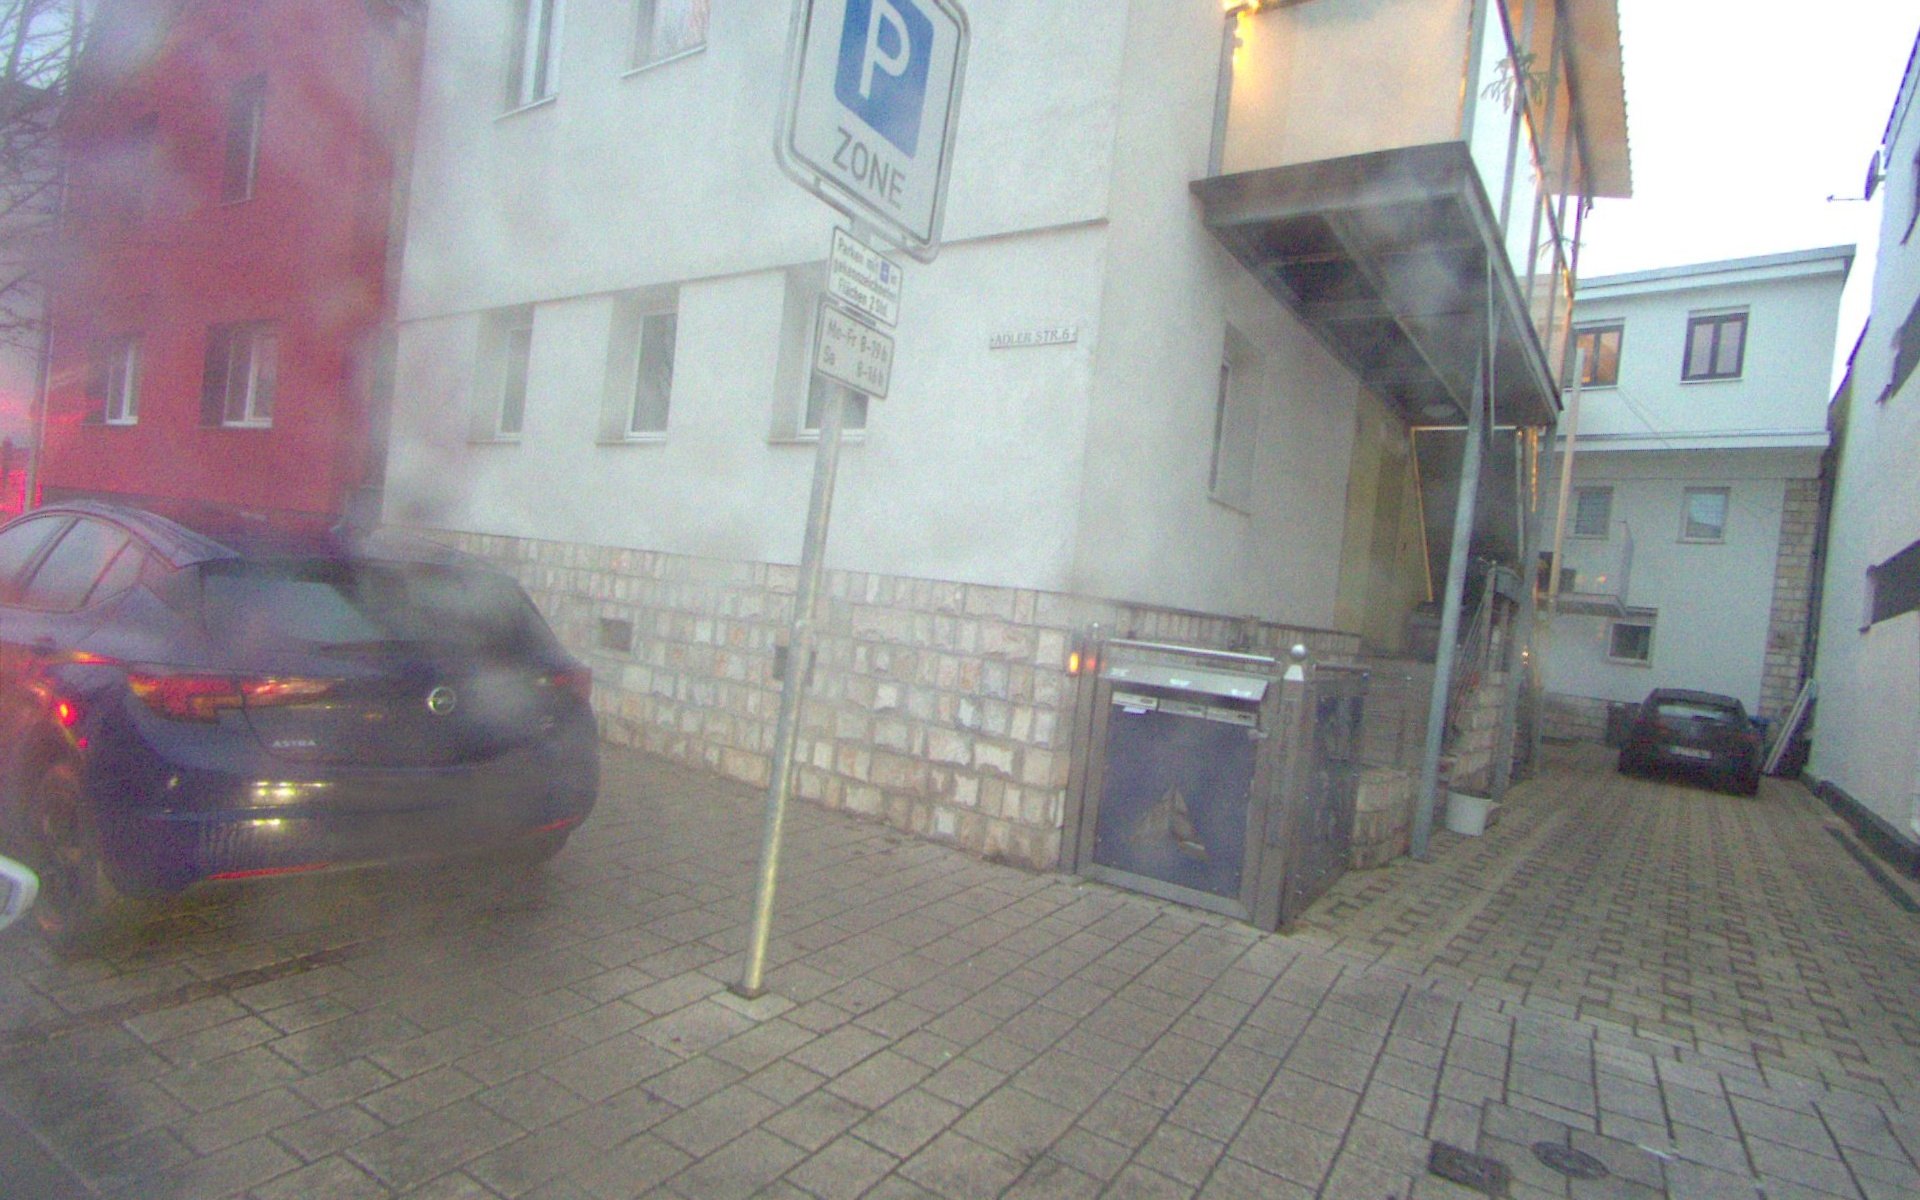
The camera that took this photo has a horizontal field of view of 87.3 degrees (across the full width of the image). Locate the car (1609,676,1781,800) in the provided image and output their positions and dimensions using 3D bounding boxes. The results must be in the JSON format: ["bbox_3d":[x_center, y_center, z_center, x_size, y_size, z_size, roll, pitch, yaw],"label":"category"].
[{"bbox_3d":[12.058,2.167,16.715,1.906,1.434,3.949,9,2,34],"label":"car"}]

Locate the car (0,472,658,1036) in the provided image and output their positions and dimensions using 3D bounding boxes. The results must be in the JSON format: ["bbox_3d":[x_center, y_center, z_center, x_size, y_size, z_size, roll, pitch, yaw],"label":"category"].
[{"bbox_3d":[-3.483,0.268,4.611,4.131,1.484,1.727,8,3,34],"label":"car"}]
